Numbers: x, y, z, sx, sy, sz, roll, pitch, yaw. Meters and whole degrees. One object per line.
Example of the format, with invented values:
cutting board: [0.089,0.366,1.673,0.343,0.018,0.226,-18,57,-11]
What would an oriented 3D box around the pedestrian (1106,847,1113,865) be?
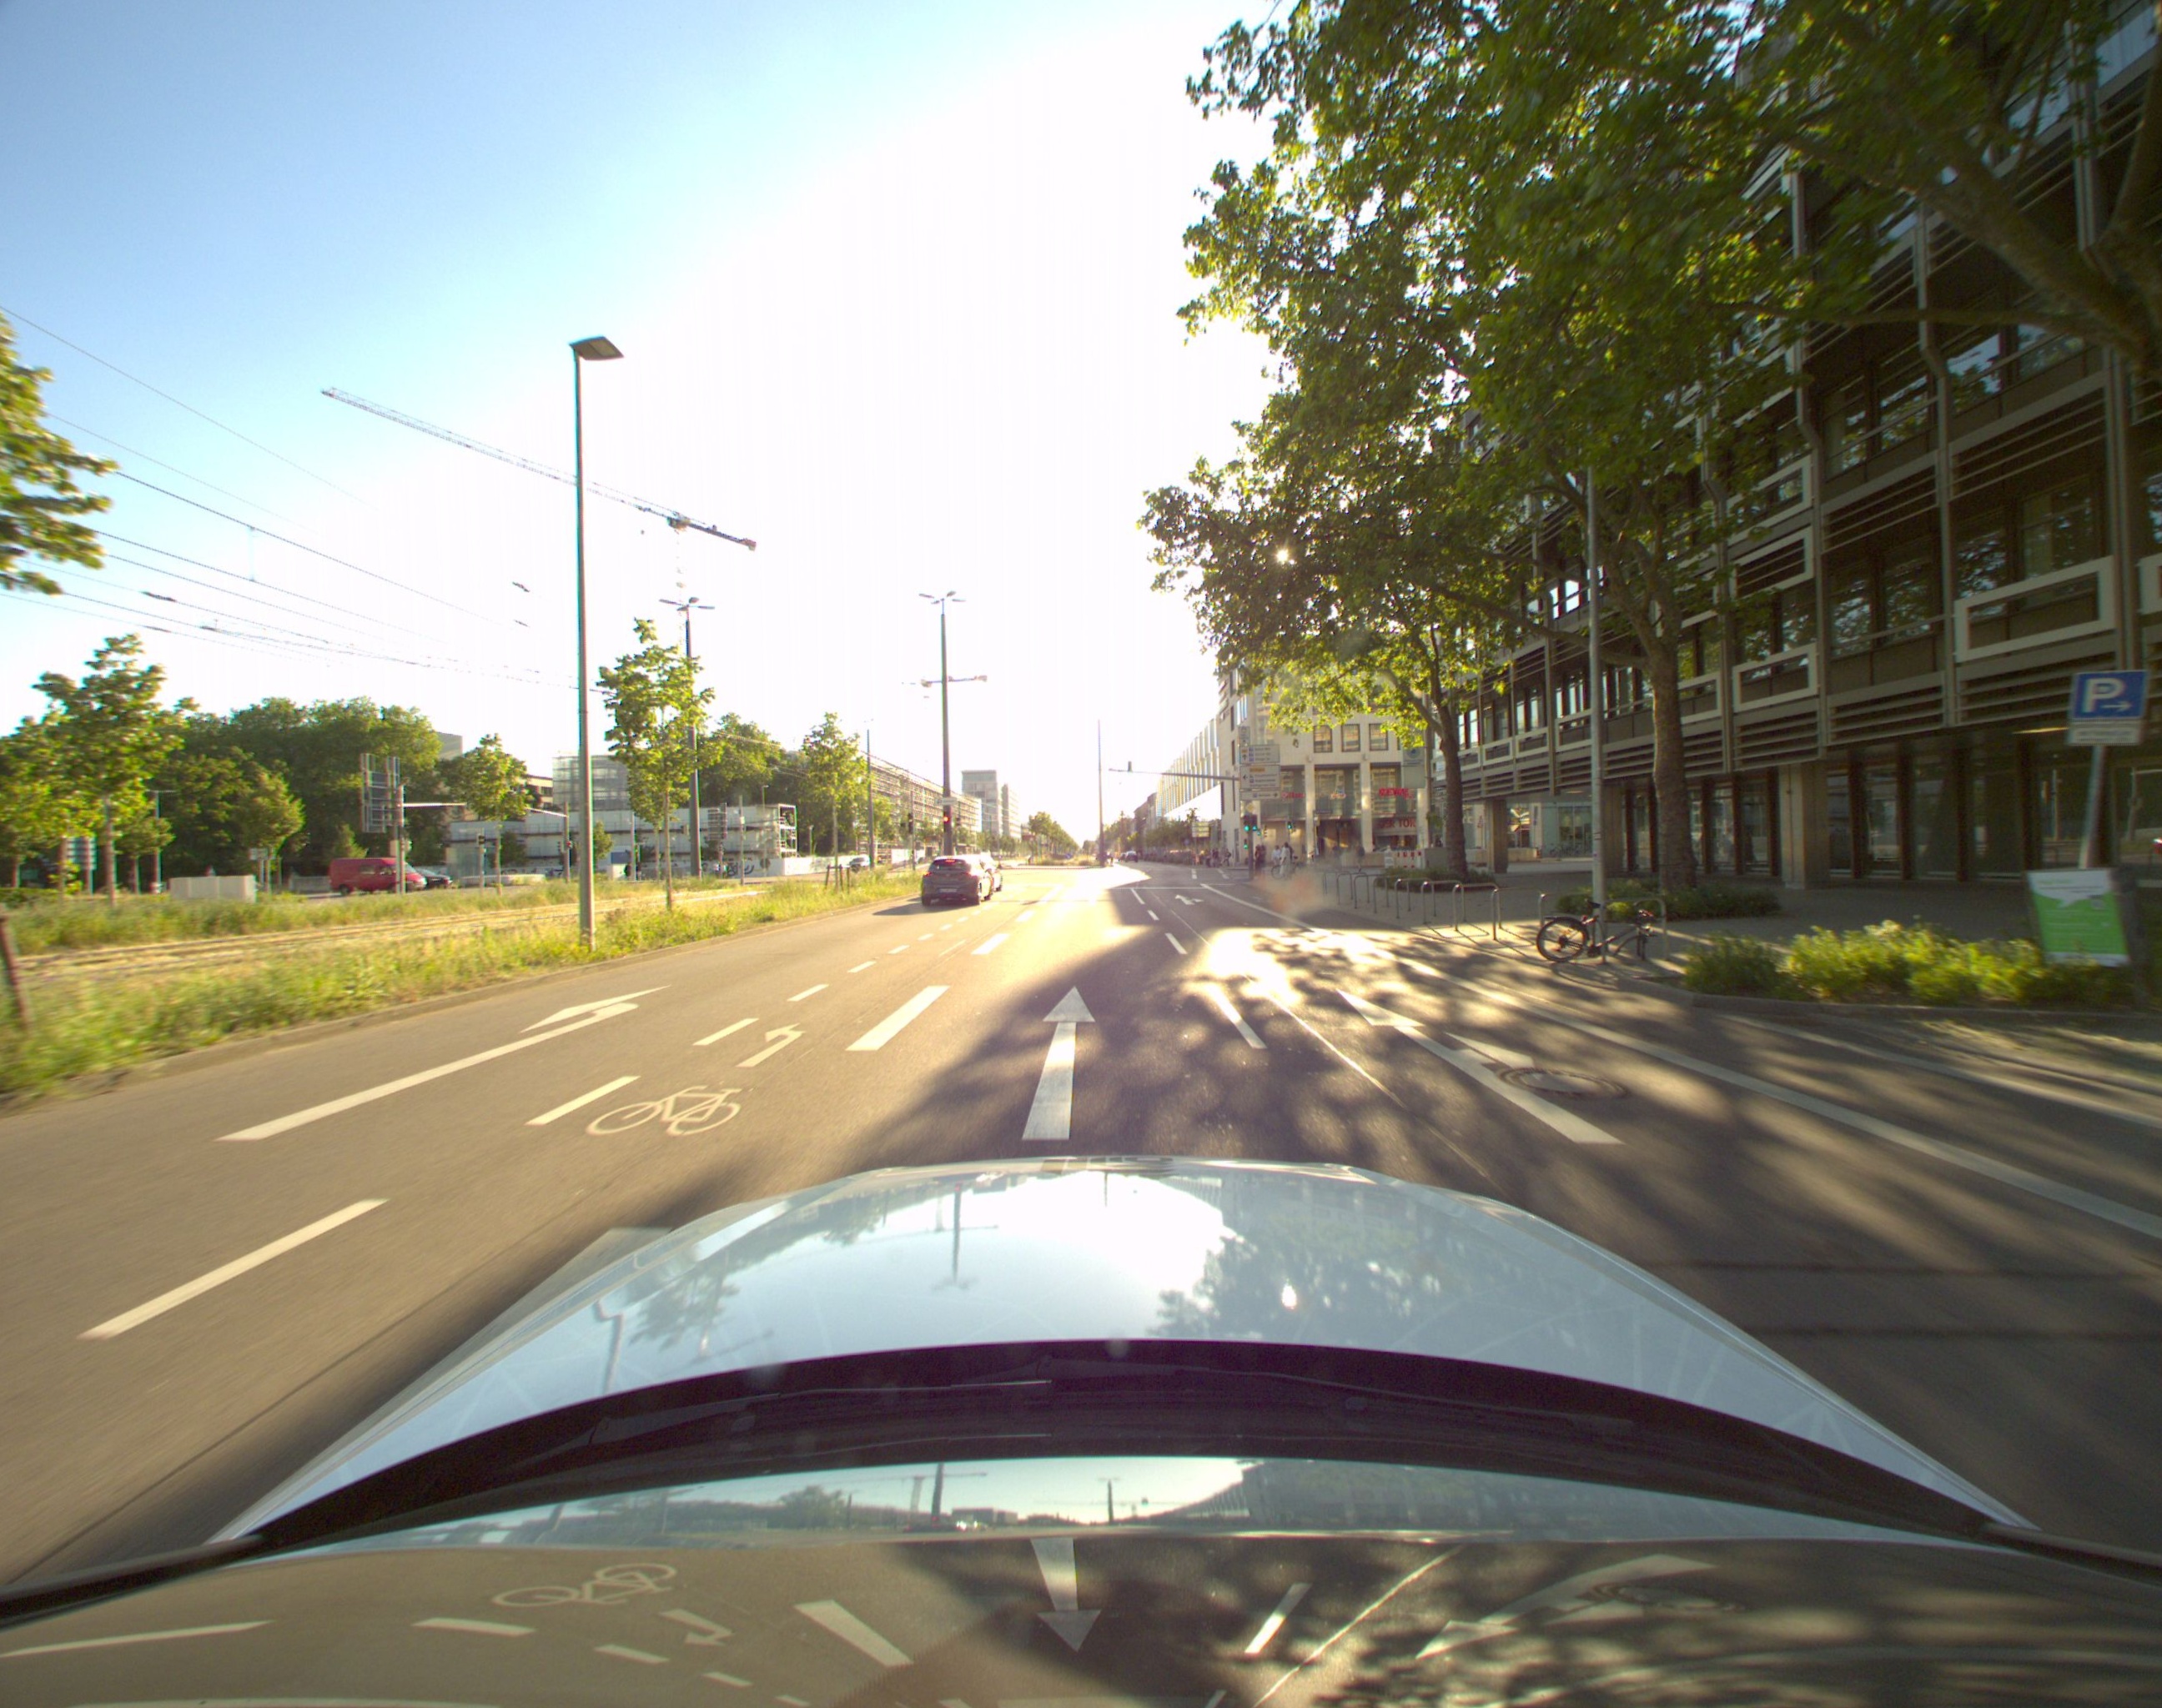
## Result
pedestrian: [2.687,0.193,77.011,0.492,1.743,0.446,-2,0,-9]

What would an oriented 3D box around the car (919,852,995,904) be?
car: [-3.740,0.680,25.152,1.771,1.428,3.999,-1,0,-1]

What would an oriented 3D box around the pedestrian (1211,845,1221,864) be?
pedestrian: [12.732,0.057,76.749,0.813,1.734,0.791,-2,0,4]

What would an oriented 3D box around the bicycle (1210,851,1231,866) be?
bicycle: [11.517,0.338,67.197,0.792,1.204,2.278,-1,0,34]

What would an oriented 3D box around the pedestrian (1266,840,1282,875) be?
pedestrian: [11.606,0.213,48.901,0.762,2.060,0.799,-3,0,7]

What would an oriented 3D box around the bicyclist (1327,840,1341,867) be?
bicyclist: [14.336,-0.048,46.142,0.576,1.522,0.750,-1,0,2]

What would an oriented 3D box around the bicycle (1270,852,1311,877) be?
bicycle: [10.140,0.505,39.474,1.796,1.086,0.479,-3,0,2]

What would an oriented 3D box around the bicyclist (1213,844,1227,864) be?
bicyclist: [11.458,0.022,67.113,0.792,1.602,0.790,-1,0,34]

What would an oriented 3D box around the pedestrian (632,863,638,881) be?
pedestrian: [-37.807,1.529,69.035,0.272,1.465,0.316,-1,0,1]

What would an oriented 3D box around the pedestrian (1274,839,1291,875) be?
pedestrian: [11.845,0.198,47.930,0.762,2.060,0.799,-3,0,7]

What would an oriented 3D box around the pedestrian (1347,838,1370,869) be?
pedestrian: [15.508,-0.035,45.601,0.906,1.703,1.114,-2,0,2]

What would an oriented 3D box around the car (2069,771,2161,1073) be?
car: [7.857,0.406,3.060,1.823,1.970,5.323,-4,0,1]

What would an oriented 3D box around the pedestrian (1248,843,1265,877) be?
pedestrian: [8.633,0.280,40.011,0.632,1.608,0.570,-3,0,1]

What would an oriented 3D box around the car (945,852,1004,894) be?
car: [-3.951,0.667,30.768,1.697,1.428,3.925,-1,0,0]

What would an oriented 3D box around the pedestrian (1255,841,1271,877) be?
pedestrian: [9.047,0.244,40.515,0.632,1.703,0.570,-3,0,1]

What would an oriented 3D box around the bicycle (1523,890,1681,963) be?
bicycle: [7.019,0.978,11.025,1.682,0.867,0.574,-3,0,9]

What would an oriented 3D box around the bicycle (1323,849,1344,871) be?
bicycle: [14.349,0.329,46.281,0.589,1.232,2.155,-1,0,2]

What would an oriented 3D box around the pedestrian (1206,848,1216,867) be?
pedestrian: [12.416,0.312,77.973,0.813,1.734,0.791,-2,0,4]

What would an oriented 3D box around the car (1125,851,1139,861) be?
car: [8.297,0.331,132.706,1.934,1.428,3.924,-2,0,-1]

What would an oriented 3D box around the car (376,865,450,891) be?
car: [-49.175,1.759,59.994,4.001,1.758,1.802,-2,0,2]

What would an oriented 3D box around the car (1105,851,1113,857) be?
car: [6.597,0.028,190.503,1.754,1.484,3.848,-2,0,-1]

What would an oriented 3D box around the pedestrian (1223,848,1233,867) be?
pedestrian: [13.991,0.341,77.666,0.813,1.734,0.791,-2,0,4]

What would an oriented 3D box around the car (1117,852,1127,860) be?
car: [8.002,0.371,157.592,1.698,1.428,3.924,-2,0,-1]

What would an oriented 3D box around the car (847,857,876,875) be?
car: [-23.926,1.269,88.834,1.987,1.776,4.001,-1,0,1]

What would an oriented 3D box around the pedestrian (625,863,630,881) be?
pedestrian: [-38.534,1.529,69.223,0.272,1.465,0.280,-1,0,4]

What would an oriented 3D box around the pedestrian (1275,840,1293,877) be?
pedestrian: [9.580,0.211,38.476,0.632,1.703,0.570,-3,0,1]

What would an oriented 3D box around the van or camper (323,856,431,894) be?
van or camper: [-48.954,1.412,56.706,5.638,2.414,2.156,-2,0,2]
